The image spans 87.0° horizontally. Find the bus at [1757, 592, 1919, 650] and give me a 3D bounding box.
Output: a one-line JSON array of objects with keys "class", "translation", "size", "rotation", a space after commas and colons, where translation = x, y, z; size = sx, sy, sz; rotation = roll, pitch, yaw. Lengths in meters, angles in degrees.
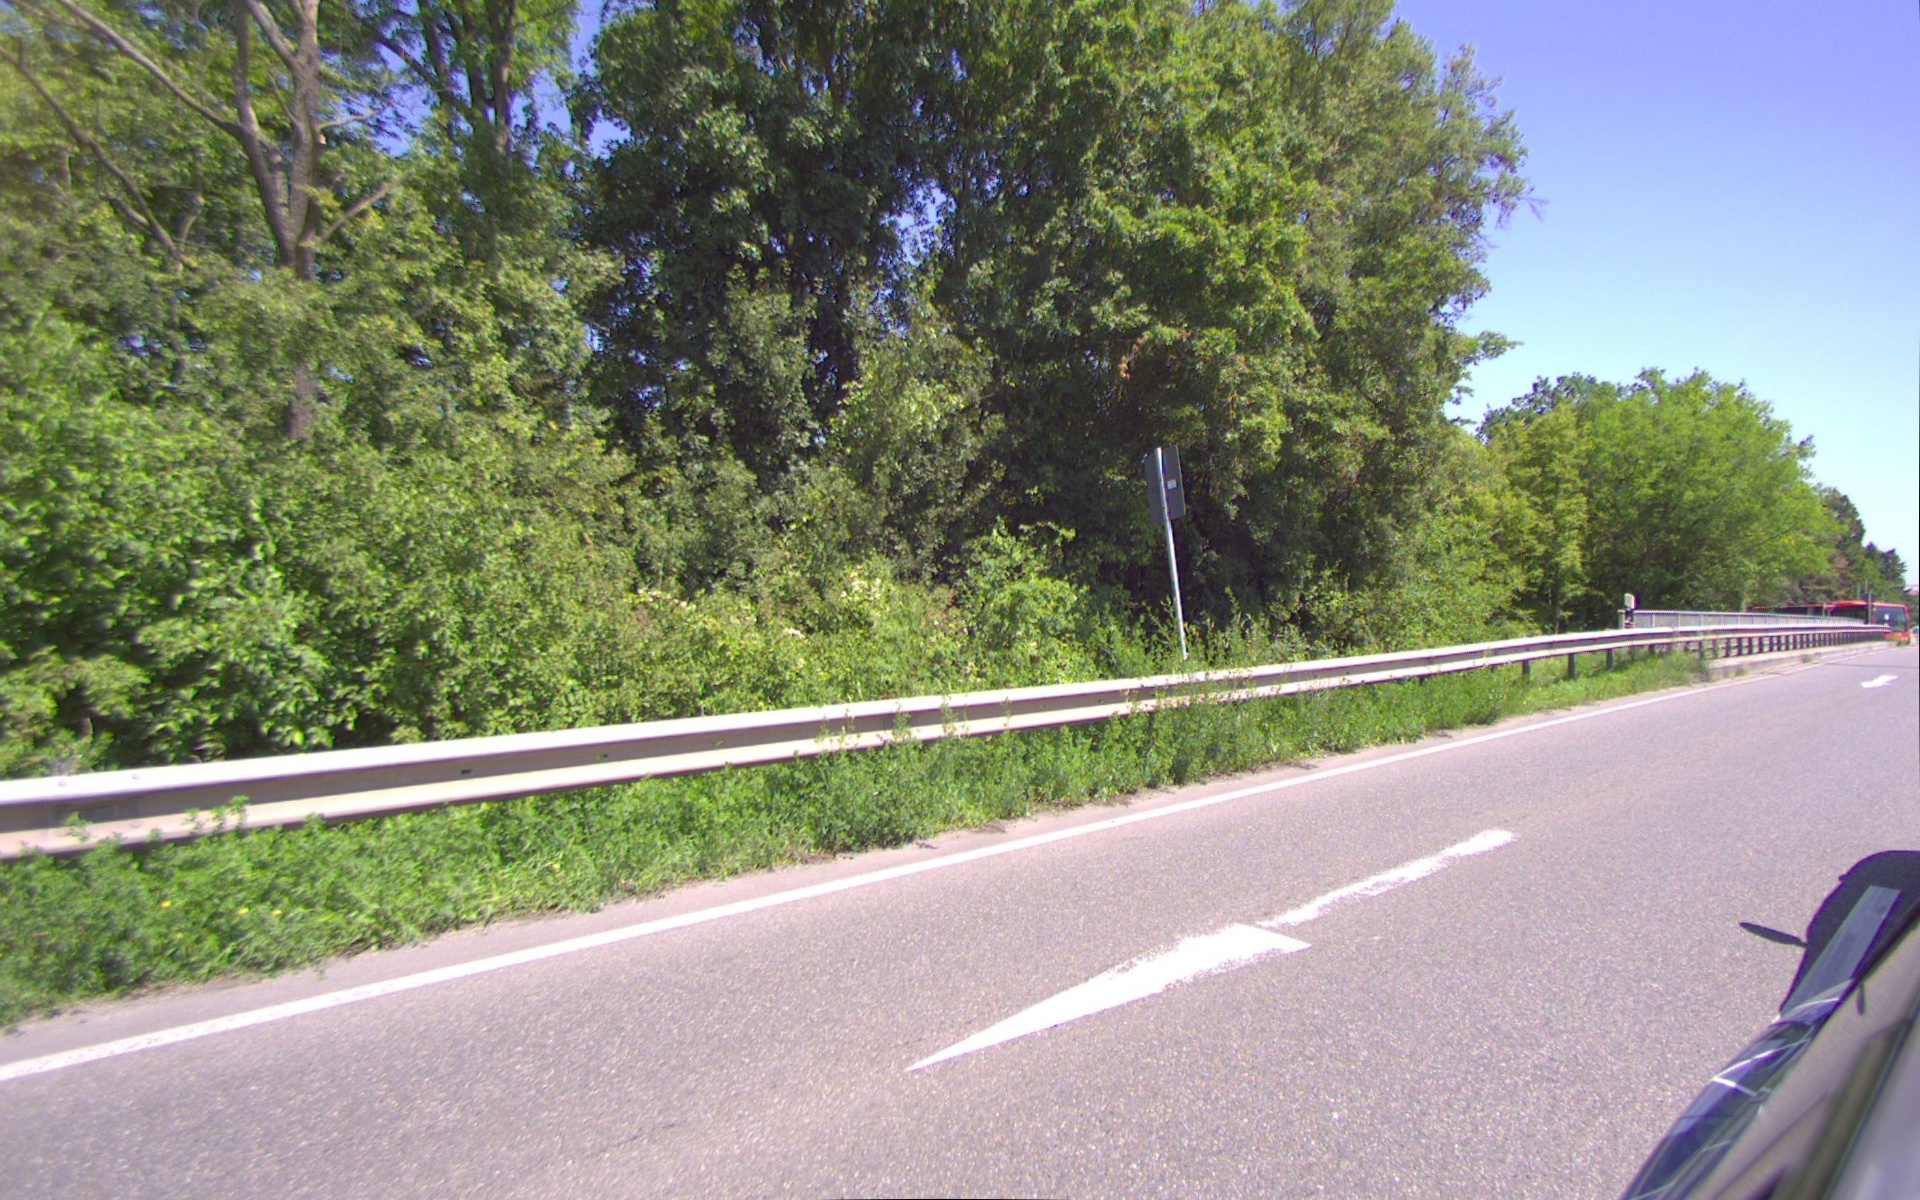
[{"class": "bus", "translation": [64.045, 1.356, 74.055], "size": [2.819, 3.708, 12.407], "rotation": [1, 1, 7]}]
